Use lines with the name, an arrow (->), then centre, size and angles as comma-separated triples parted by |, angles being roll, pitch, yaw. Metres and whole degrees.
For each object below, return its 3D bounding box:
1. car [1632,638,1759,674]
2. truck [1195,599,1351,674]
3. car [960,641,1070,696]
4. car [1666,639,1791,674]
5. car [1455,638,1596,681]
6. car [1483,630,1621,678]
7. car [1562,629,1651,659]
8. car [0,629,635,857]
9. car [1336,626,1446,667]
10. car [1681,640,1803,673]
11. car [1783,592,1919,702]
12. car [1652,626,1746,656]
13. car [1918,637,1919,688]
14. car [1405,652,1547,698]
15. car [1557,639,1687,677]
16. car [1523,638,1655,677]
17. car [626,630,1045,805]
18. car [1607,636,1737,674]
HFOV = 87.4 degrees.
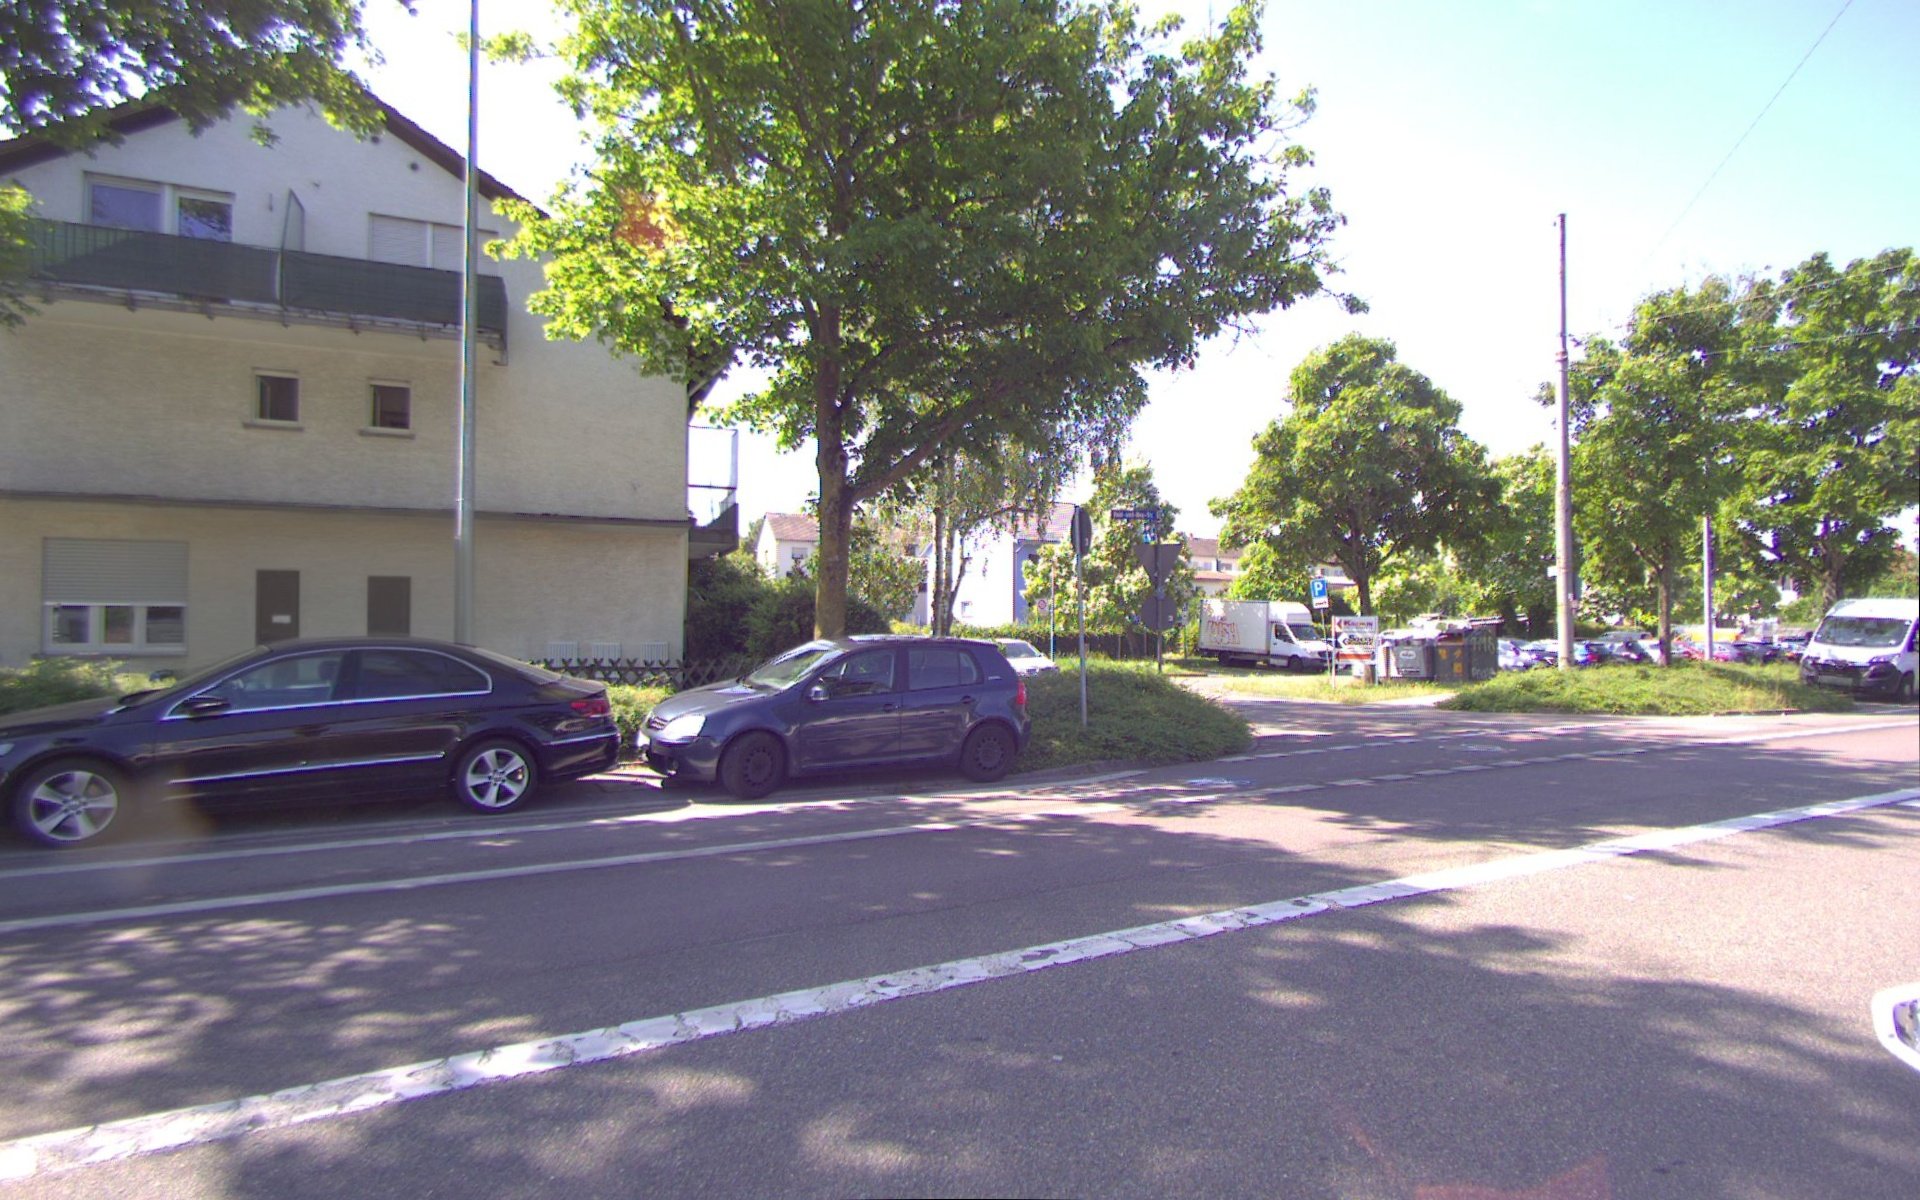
car -> 30.743, 2.334, 42.083 | 1.712, 1.434, 3.964 | 2, -4, -33
truck -> 14.418, 1.602, 46.837 | 2.646, 3.151, 6.967 | 1, 0, -30
car -> 1.466, 1.907, 28.466 | 1.704, 1.434, 3.983 | 1, -3, -20
car -> 33.165, 2.446, 43.453 | 1.712, 1.434, 3.964 | 2, -4, -33
car -> 19.698, 2.076, 35.122 | 1.712, 1.434, 3.964 | 2, -4, -33
car -> 21.456, 1.973, 36.534 | 1.712, 1.631, 3.964 | 2, -4, -33
car -> 44.519, 2.989, 69.296 | 2.043, 1.811, 4.762 | 2, 0, -34
car -> -5.263, 1.004, 8.369 | 4.568, 1.434, 1.854 | 1, 0, -31
car -> 21.647, 2.325, 50.676 | 2.043, 1.811, 4.762 | 2, 0, -34
car -> 34.923, 2.531, 44.964 | 1.712, 1.434, 3.964 | 2, -4, -33
car -> 23.796, 1.141, 25.774 | 5.745, 2.550, 2.114 | 1, 0, -29
car -> 50.479, 2.771, 68.671 | 2.043, 1.811, 4.762 | 2, 0, -34
car -> 29.393, 1.819, 28.701 | 4.230, 1.434, 1.854 | 1, 0, -31
car -> 17.325, 2.490, 33.898 | 1.712, 1.434, 3.964 | 2, -4, -33
car -> 26.329, 2.328, 40.078 | 1.712, 1.434, 3.964 | 2, -4, -33
car -> 24.173, 2.213, 38.714 | 1.712, 1.434, 3.964 | 2, -4, -33
car -> -1.269, 1.095, 10.481 | 3.988, 1.462, 1.718 | 1, 0, -28
car -> 28.832, 2.244, 40.782 | 1.712, 1.434, 3.964 | 2, -4, -33
